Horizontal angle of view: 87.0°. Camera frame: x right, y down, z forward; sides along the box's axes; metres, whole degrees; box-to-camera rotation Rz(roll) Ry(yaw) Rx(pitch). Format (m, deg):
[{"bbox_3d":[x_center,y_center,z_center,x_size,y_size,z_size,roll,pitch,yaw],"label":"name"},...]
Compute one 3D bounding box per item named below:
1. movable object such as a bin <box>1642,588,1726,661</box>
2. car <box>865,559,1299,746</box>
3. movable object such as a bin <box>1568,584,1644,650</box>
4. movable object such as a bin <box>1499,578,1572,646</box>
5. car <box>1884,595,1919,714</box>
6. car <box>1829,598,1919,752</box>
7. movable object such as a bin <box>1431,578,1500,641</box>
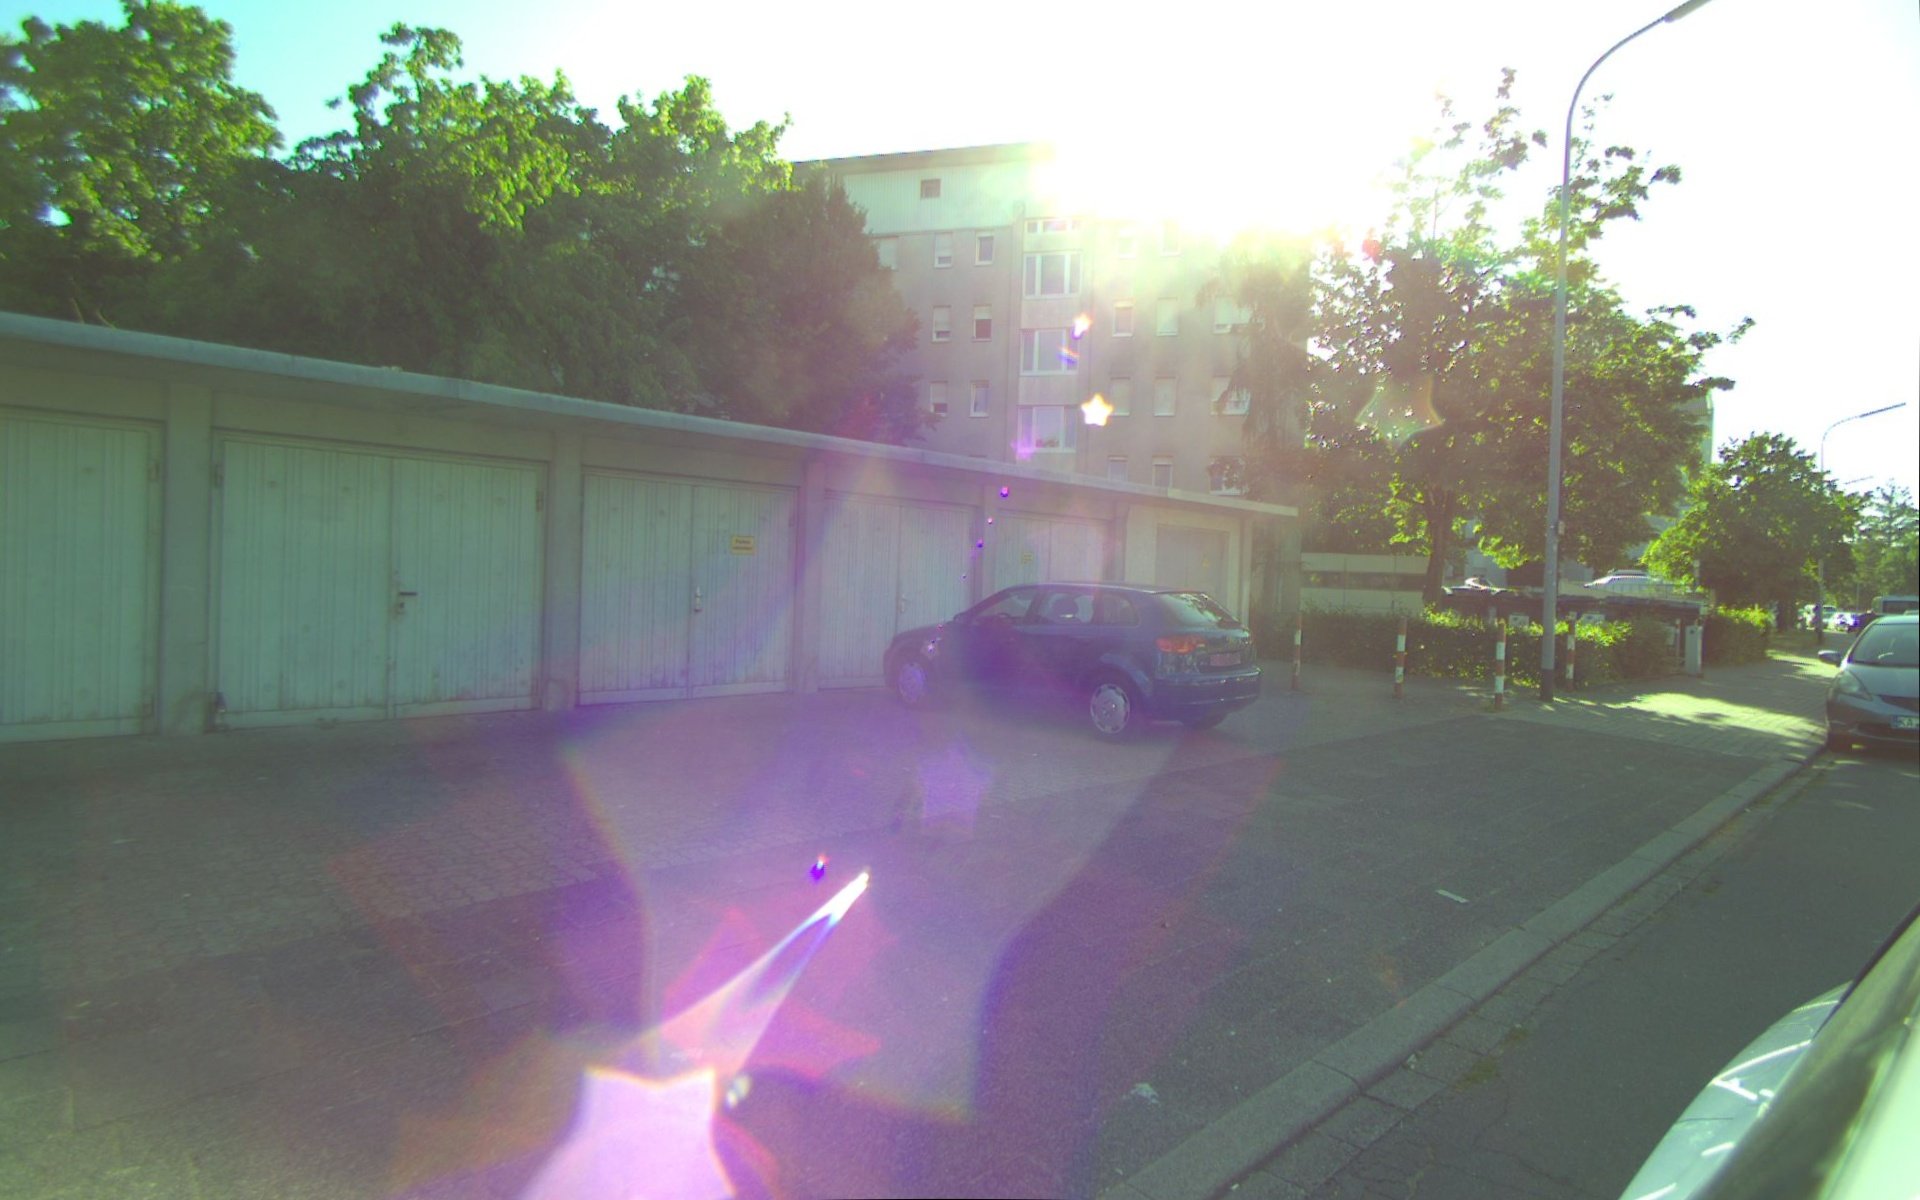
[{"bbox_3d":[15.995,0.520,22.367,1.324,1.445,1.054,6,3,41],"label":"movable object such as a bin"},{"bbox_3d":[1.074,0.372,10.361,4.184,1.513,1.789,2,1,44],"label":"car"},{"bbox_3d":[14.912,0.380,23.380,1.323,1.449,1.014,2,1,41],"label":"movable object such as a bin"},{"bbox_3d":[13.835,0.277,24.342,1.323,1.556,1.014,2,1,41],"label":"movable object such as a bin"},{"bbox_3d":[14.745,0.749,14.471,4.561,1.565,1.833,0,1,-42],"label":"car"},{"bbox_3d":[11.067,0.773,11.154,3.730,1.513,1.807,1,1,-42],"label":"car"},{"bbox_3d":[12.632,0.225,25.292,1.321,1.499,1.014,2,1,41],"label":"movable object such as a bin"}]
